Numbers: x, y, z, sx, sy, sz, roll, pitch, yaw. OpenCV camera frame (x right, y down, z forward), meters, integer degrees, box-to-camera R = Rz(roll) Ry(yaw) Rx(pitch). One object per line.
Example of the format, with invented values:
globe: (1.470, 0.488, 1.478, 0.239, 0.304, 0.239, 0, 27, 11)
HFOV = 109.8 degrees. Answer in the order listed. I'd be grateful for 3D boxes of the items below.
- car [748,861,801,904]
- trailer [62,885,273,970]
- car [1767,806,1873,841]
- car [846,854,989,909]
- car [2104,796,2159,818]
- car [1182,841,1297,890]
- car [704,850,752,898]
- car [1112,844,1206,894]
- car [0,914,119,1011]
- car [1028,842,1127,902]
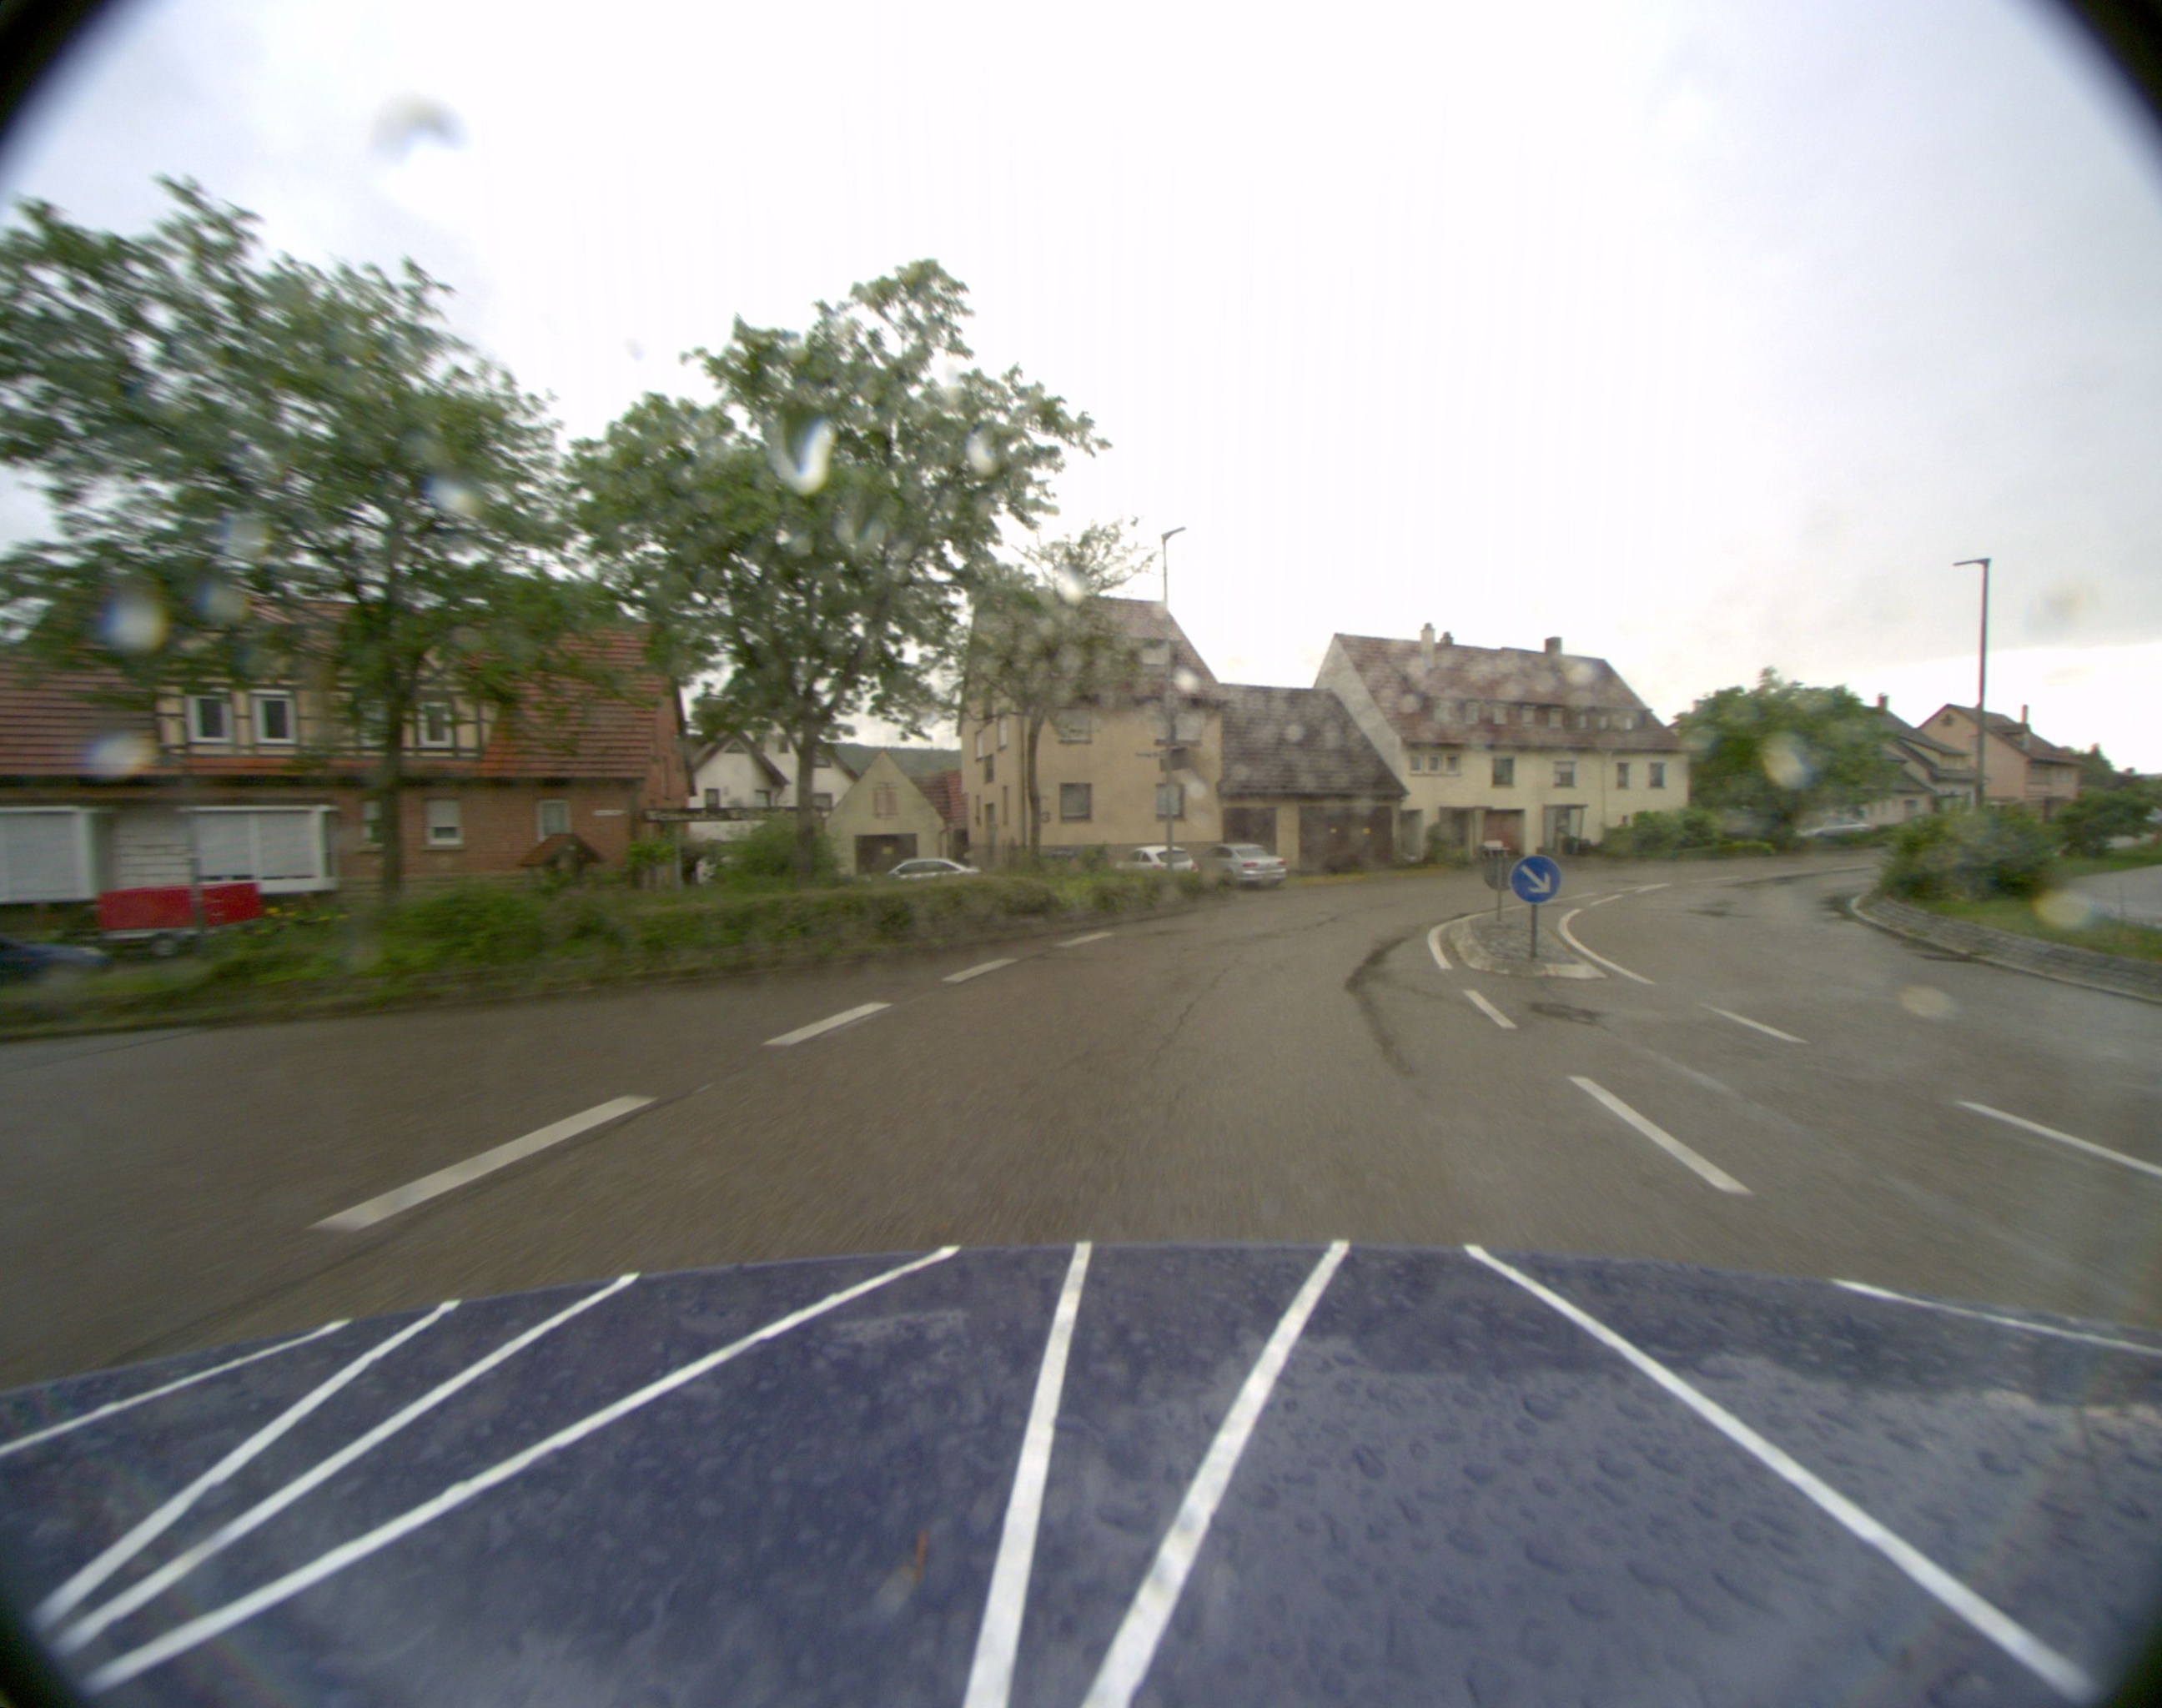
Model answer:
car: (-11.959, 1.059, 29.824, 1.603, 1.488, 3.994, -3, 1, -19)
trailer: (-20.798, 1.630, 17.419, 2.726, 1.640, 1.410, -3, 1, -13)
car: (39.686, -1.622, 40.839, 4.480, 1.701, 1.911, -2, 3, -12)
car: (-5.285, 0.834, 24.493, 4.268, 1.431, 1.904, -3, 3, -18)
car: (80.158, -3.586, 57.967, 4.005, 1.521, 1.995, -3, 1, -30)
car: (5.432, 0.319, 26.709, 1.822, 1.407, 4.618, -3, 3, -20)
car: (-16.253, 0.877, 34.894, 1.601, 2.002, 3.991, -4, 2, -29)
car: (2.592, 0.462, 25.977, 1.720, 1.521, 3.425, -3, 2, -22)
car: (-17.862, 1.807, 11.461, 1.620, 1.382, 3.738, -2, 2, 18)
car: (-0.195, 0.500, 25.142, 1.750, 1.574, 3.990, -5, 5, -24)
